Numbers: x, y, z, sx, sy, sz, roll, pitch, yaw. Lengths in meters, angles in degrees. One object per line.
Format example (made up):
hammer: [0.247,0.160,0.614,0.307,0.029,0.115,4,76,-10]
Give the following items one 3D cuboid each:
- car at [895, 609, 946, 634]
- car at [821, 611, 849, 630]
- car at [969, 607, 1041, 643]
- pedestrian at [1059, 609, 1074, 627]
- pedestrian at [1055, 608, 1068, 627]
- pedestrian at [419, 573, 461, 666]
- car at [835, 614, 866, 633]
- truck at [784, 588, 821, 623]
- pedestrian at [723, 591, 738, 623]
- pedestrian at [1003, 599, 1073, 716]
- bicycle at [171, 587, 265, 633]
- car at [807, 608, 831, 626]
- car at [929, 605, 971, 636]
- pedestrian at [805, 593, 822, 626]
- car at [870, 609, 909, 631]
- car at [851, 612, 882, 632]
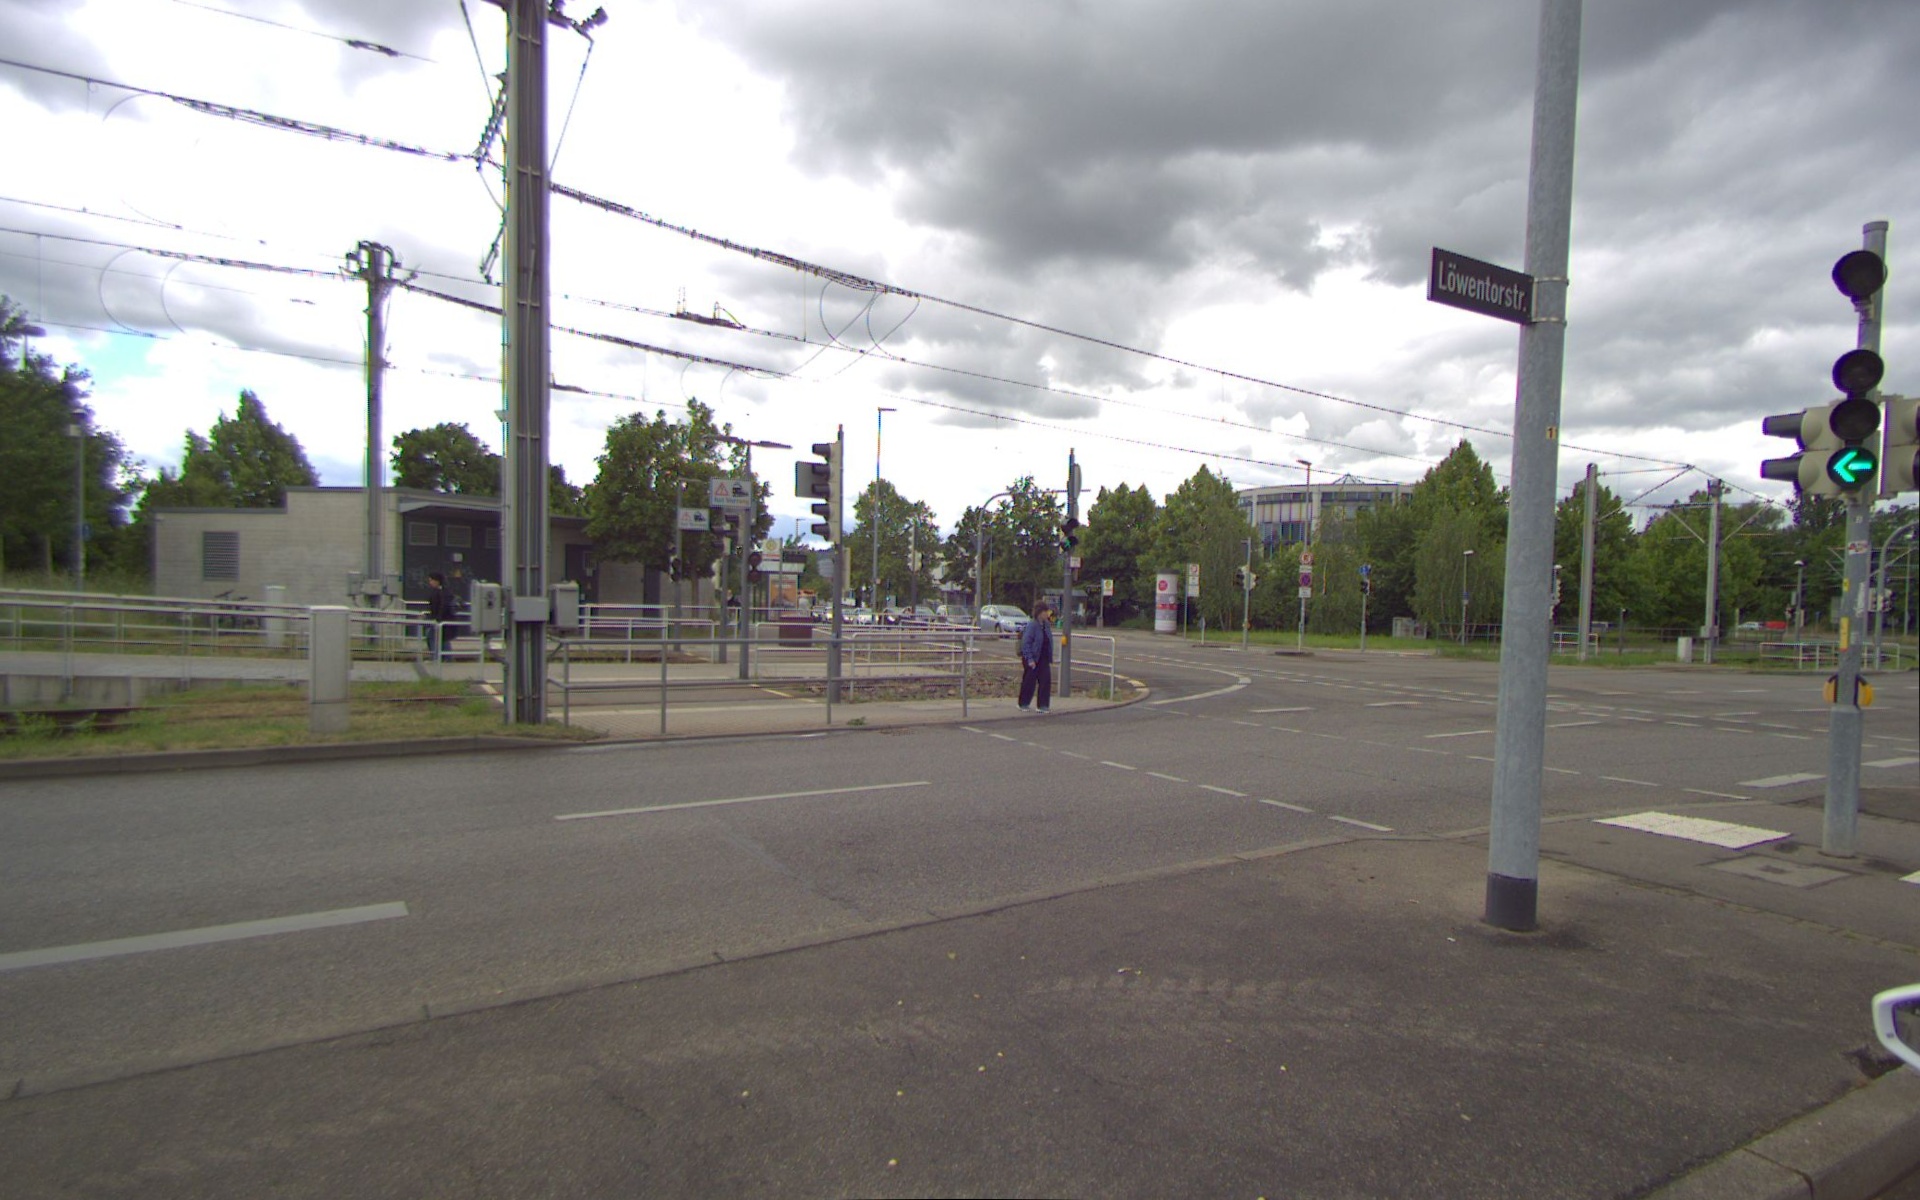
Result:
car: [-2.311,1.198,57.576,1.777,1.350,4.362,1,0,-18]
car: [-10.729,1.733,86.131,1.708,1.606,4.208,1,0,-17]
car: [2.014,1.108,46.437,1.805,1.556,4.199,1,0,-21]
pedestrian: [7.529,1.286,70.954,0.759,1.269,0.774,1,0,32]
pedestrian: [7.293,1.286,72.147,0.718,1.333,0.587,1,0,-15]
pedestrian: [-9.172,0.337,17.716,0.539,1.593,0.560,4,-1,-31]
car: [-8.721,1.857,79.856,1.618,1.409,4.867,1,0,-17]
truck: [-16.975,0.588,107.832,2.670,3.533,9.960,1,0,-16]
pedestrian: [-12.102,0.369,52.961,0.539,1.692,0.639,1,0,10]
pedestrian: [1.065,0.776,13.823,0.661,1.550,0.711,1,0,-25]
bicycle: [-19.517,0.254,26.434,2.210,1.120,0.679,2,0,12]
car: [-13.220,1.610,93.779,1.618,1.606,4.046,1,0,-17]
car: [-0.550,1.063,52.464,1.411,1.547,2.763,1,0,-19]
pedestrian: [-6.320,0.404,43.288,0.543,1.382,0.769,1,0,-24]
car: [-4.552,1.245,64.393,1.618,1.350,4.046,1,0,-17]
car: [-6.911,1.618,74.046,1.618,1.409,3.748,1,0,-17]
